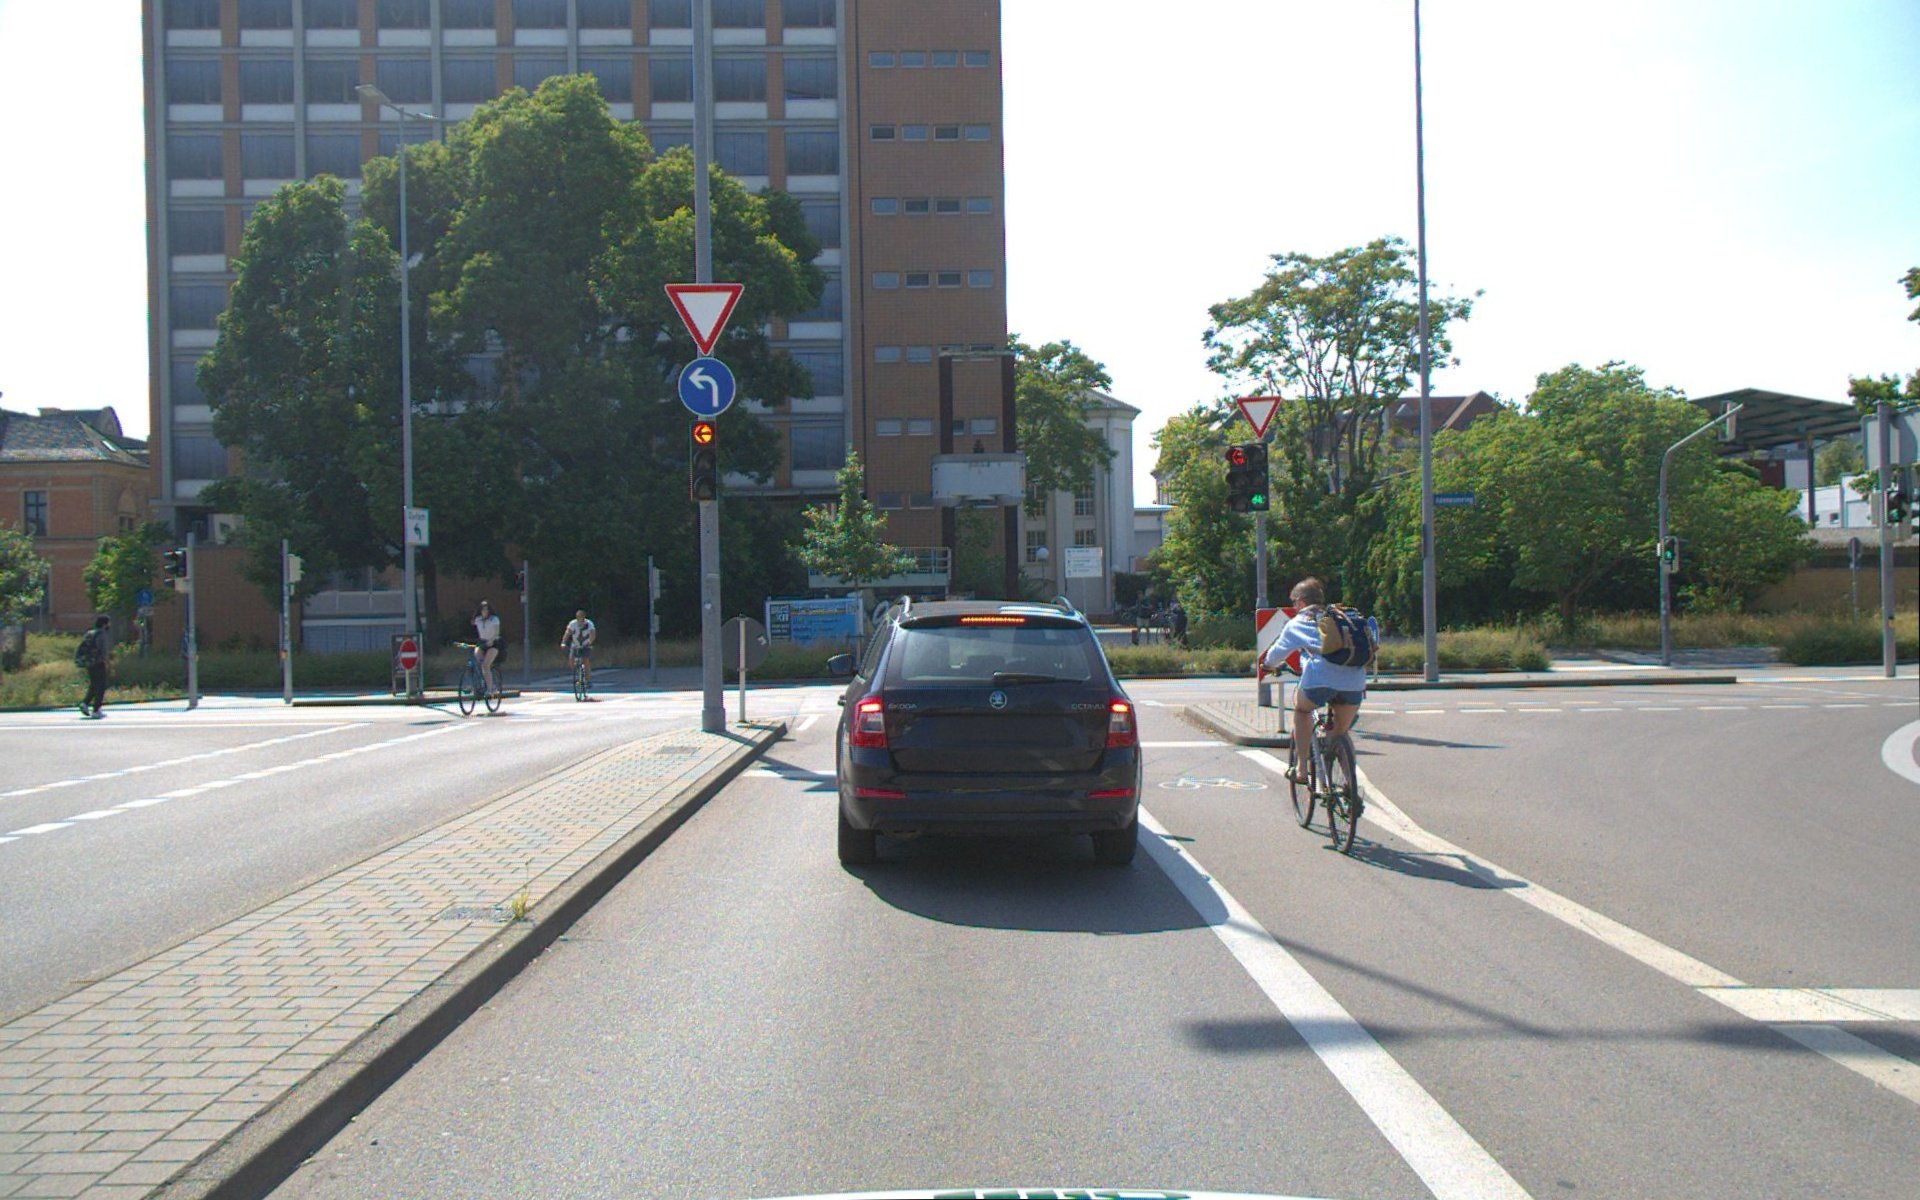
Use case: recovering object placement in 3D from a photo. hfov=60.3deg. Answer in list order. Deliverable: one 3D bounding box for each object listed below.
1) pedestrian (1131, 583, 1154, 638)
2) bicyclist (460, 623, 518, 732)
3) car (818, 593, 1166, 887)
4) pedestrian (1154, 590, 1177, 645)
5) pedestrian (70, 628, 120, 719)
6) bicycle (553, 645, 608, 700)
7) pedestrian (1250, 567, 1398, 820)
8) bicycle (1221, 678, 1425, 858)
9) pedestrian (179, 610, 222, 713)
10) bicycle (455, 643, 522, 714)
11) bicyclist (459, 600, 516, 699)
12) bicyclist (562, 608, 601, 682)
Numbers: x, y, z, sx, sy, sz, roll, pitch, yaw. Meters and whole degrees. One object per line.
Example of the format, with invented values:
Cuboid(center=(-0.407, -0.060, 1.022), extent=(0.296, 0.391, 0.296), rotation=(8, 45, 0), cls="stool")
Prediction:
Cuboid(center=(6.554, 0.373, 59.470), extent=(0.584, 1.907, 0.639), rotation=(-3, 0, 22), cls="pedestrian")
Cuboid(center=(-7.323, 1.194, 25.751), extent=(0.606, 1.609, 1.012), rotation=(-4, 0, -6), cls="bicyclist")
Cuboid(center=(0.150, 0.706, 10.225), extent=(1.743, 1.468, 3.817), rotation=(0, 0, 0), cls="car")
Cuboid(center=(7.232, 0.615, 58.227), extent=(0.624, 1.907, 0.796), rotation=(-3, 0, -1), cls="pedestrian")
Cuboid(center=(-14.988, 1.260, 28.659), extent=(0.621, 1.518, 0.614), rotation=(-2, 0, -17), cls="pedestrian")
Cuboid(center=(-7.634, 1.439, 33.345), extent=(0.690, 0.994, 2.029), rotation=(-2, 0, -3), cls="bicycle")
Cuboid(center=(2.246, 0.554, 10.308), extent=(0.572, 1.492, 1.011), rotation=(0, -1, -9), cls="pedestrian")
Cuboid(center=(2.232, 1.004, 10.448), extent=(0.585, 0.948, 2.024), rotation=(0, -1, -8), cls="bicycle")
Cuboid(center=(-15.293, 1.229, 33.296), extent=(0.610, 2.049, 0.678), rotation=(2, -2, -38), cls="pedestrian")
Cuboid(center=(-7.323, 1.194, 25.751), extent=(0.606, 0.977, 1.965), rotation=(-4, 0, -6), cls="bicycle")
Cuboid(center=(-7.351, 0.756, 25.753), extent=(0.606, 1.468, 0.919), rotation=(-4, 0, -6), cls="bicyclist")
Cuboid(center=(-7.622, 0.896, 33.310), extent=(0.528, 1.441, 1.029), rotation=(-2, -1, -3), cls="bicyclist")
